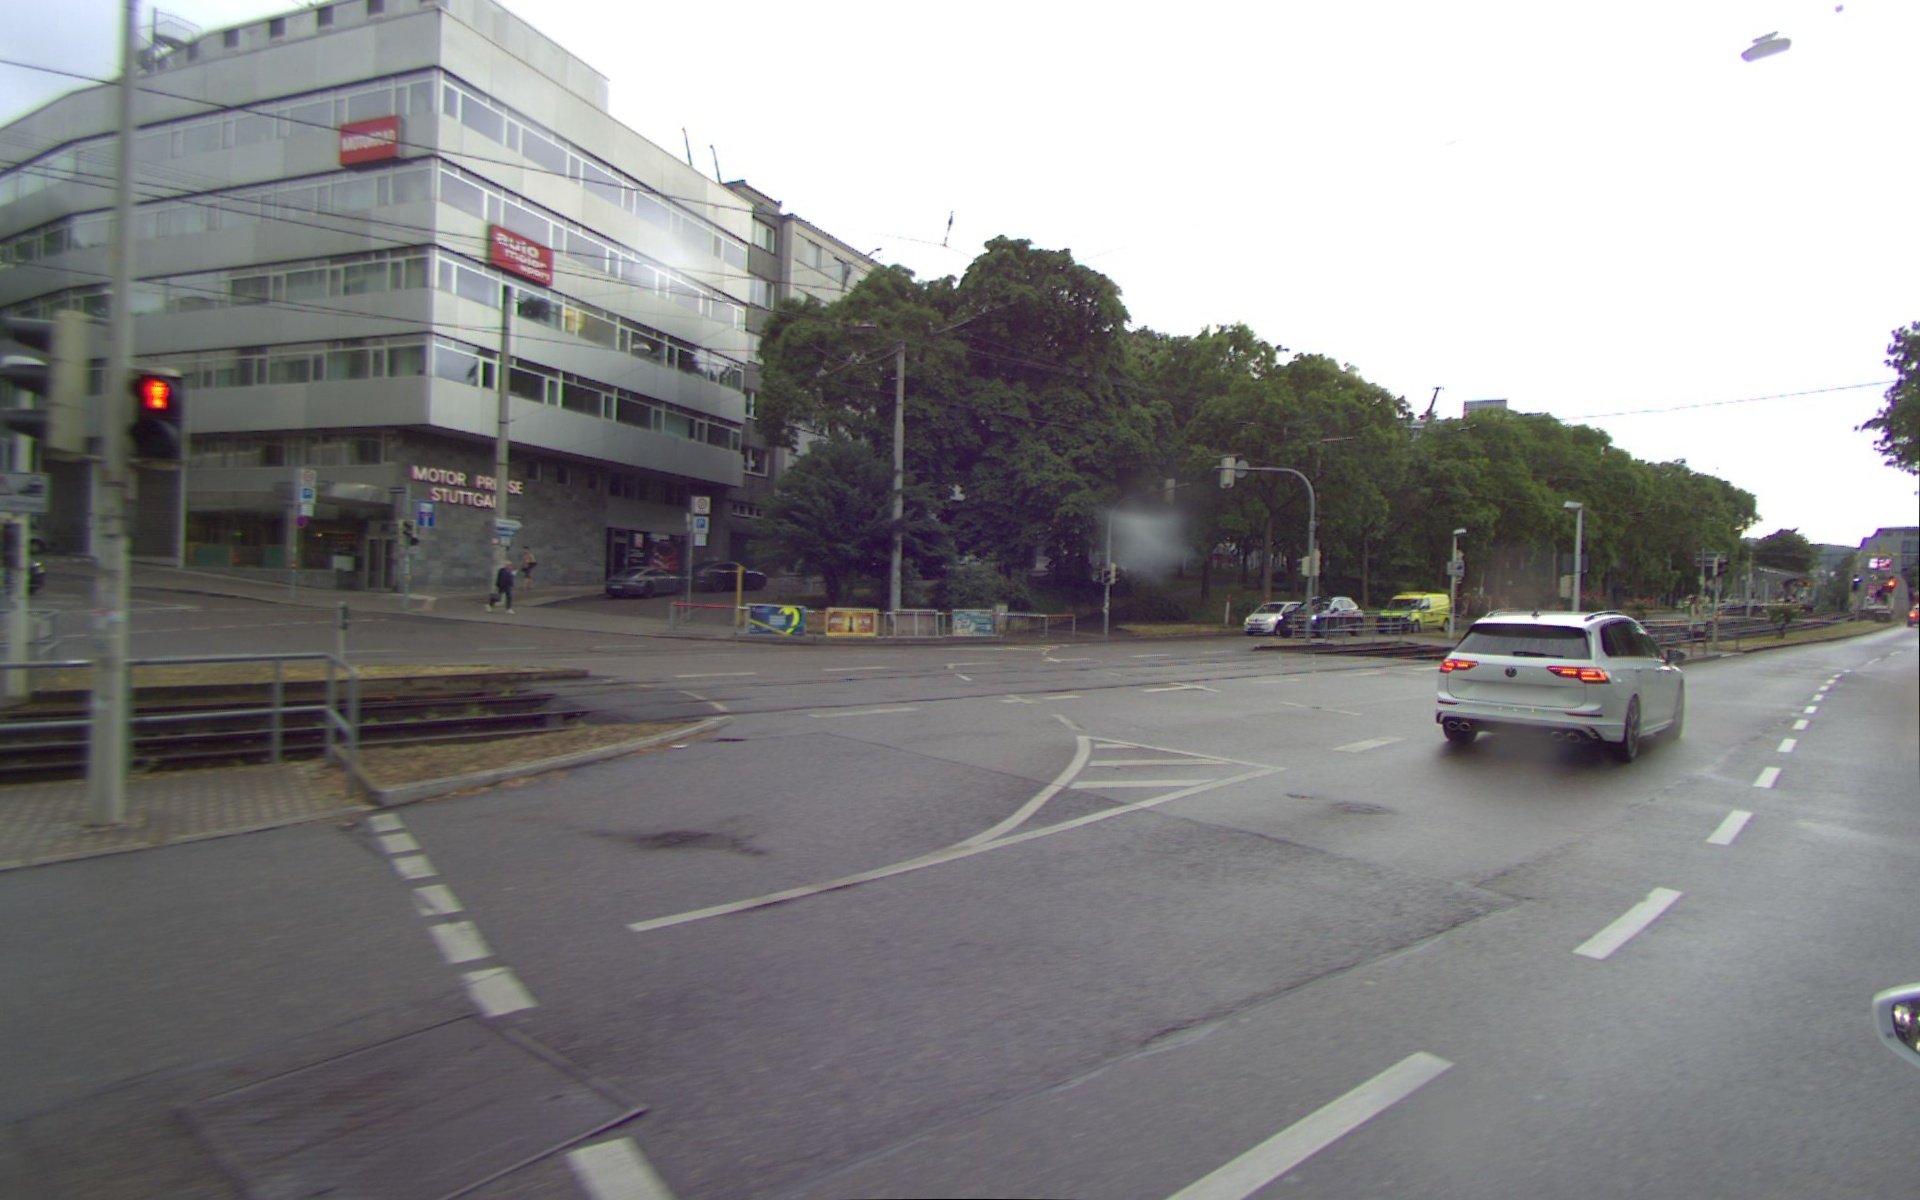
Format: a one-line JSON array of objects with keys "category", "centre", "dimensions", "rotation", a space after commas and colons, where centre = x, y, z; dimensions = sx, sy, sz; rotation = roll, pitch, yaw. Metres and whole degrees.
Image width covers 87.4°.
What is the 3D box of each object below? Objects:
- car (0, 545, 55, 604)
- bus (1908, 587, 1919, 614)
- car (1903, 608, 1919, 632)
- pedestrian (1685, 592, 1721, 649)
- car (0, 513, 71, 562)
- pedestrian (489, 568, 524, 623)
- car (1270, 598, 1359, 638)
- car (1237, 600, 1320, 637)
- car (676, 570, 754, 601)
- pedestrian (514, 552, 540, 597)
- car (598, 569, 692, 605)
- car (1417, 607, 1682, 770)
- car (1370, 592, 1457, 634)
[{"category": "car", "centre": [-30.022, -0.883, 30.311], "dimensions": [4.791, 1.601, 2.000], "rotation": [5, 2, 20]}, {"category": "bus", "centre": [118.083, 0.141, 122.334], "dimensions": [3.553, 3.213, 10.354], "rotation": [-1, -1, 44]}, {"category": "car", "centre": [65.353, 1.342, 68.022], "dimensions": [4.320, 1.539, 1.974], "rotation": [1, -1, -44]}, {"category": "pedestrian", "centre": [24.325, 0.652, 32.880], "dimensions": [0.859, 1.826, 0.864], "rotation": [2, 2, 40]}, {"category": "car", "centre": [-43.973, -2.866, 45.346], "dimensions": [1.963, 2.040, 5.406], "rotation": [0, -1, 28]}, {"category": "pedestrian", "centre": [-15.921, -0.169, 35.262], "dimensions": [0.832, 1.886, 0.719], "rotation": [3, 1, 23]}, {"category": "car", "centre": [14.708, 0.756, 41.647], "dimensions": [3.651, 1.566, 1.903], "rotation": [1, 0, -40]}, {"category": "car", "centre": [14.343, 0.832, 45.225], "dimensions": [3.651, 1.566, 1.903], "rotation": [1, 0, -40]}, {"category": "car", "centre": [-11.978, -0.710, 49.419], "dimensions": [1.842, 1.450, 3.999], "rotation": [2, 1, 20]}, {"category": "pedestrian", "centre": [-18.380, -1.088, 42.661], "dimensions": [0.706, 1.886, 0.759], "rotation": [3, 3, 26]}, {"category": "car", "centre": [-13.841, -0.576, 44.355], "dimensions": [1.842, 1.450, 4.093], "rotation": [2, 1, 20]}, {"category": "car", "centre": [6.754, 0.855, 11.268], "dimensions": [1.775, 1.461, 4.452], "rotation": [-1, -2, 41]}, {"category": "car", "centre": [21.250, 0.619, 46.998], "dimensions": [4.529, 1.875, 1.903], "rotation": [1, 0, -40]}]
